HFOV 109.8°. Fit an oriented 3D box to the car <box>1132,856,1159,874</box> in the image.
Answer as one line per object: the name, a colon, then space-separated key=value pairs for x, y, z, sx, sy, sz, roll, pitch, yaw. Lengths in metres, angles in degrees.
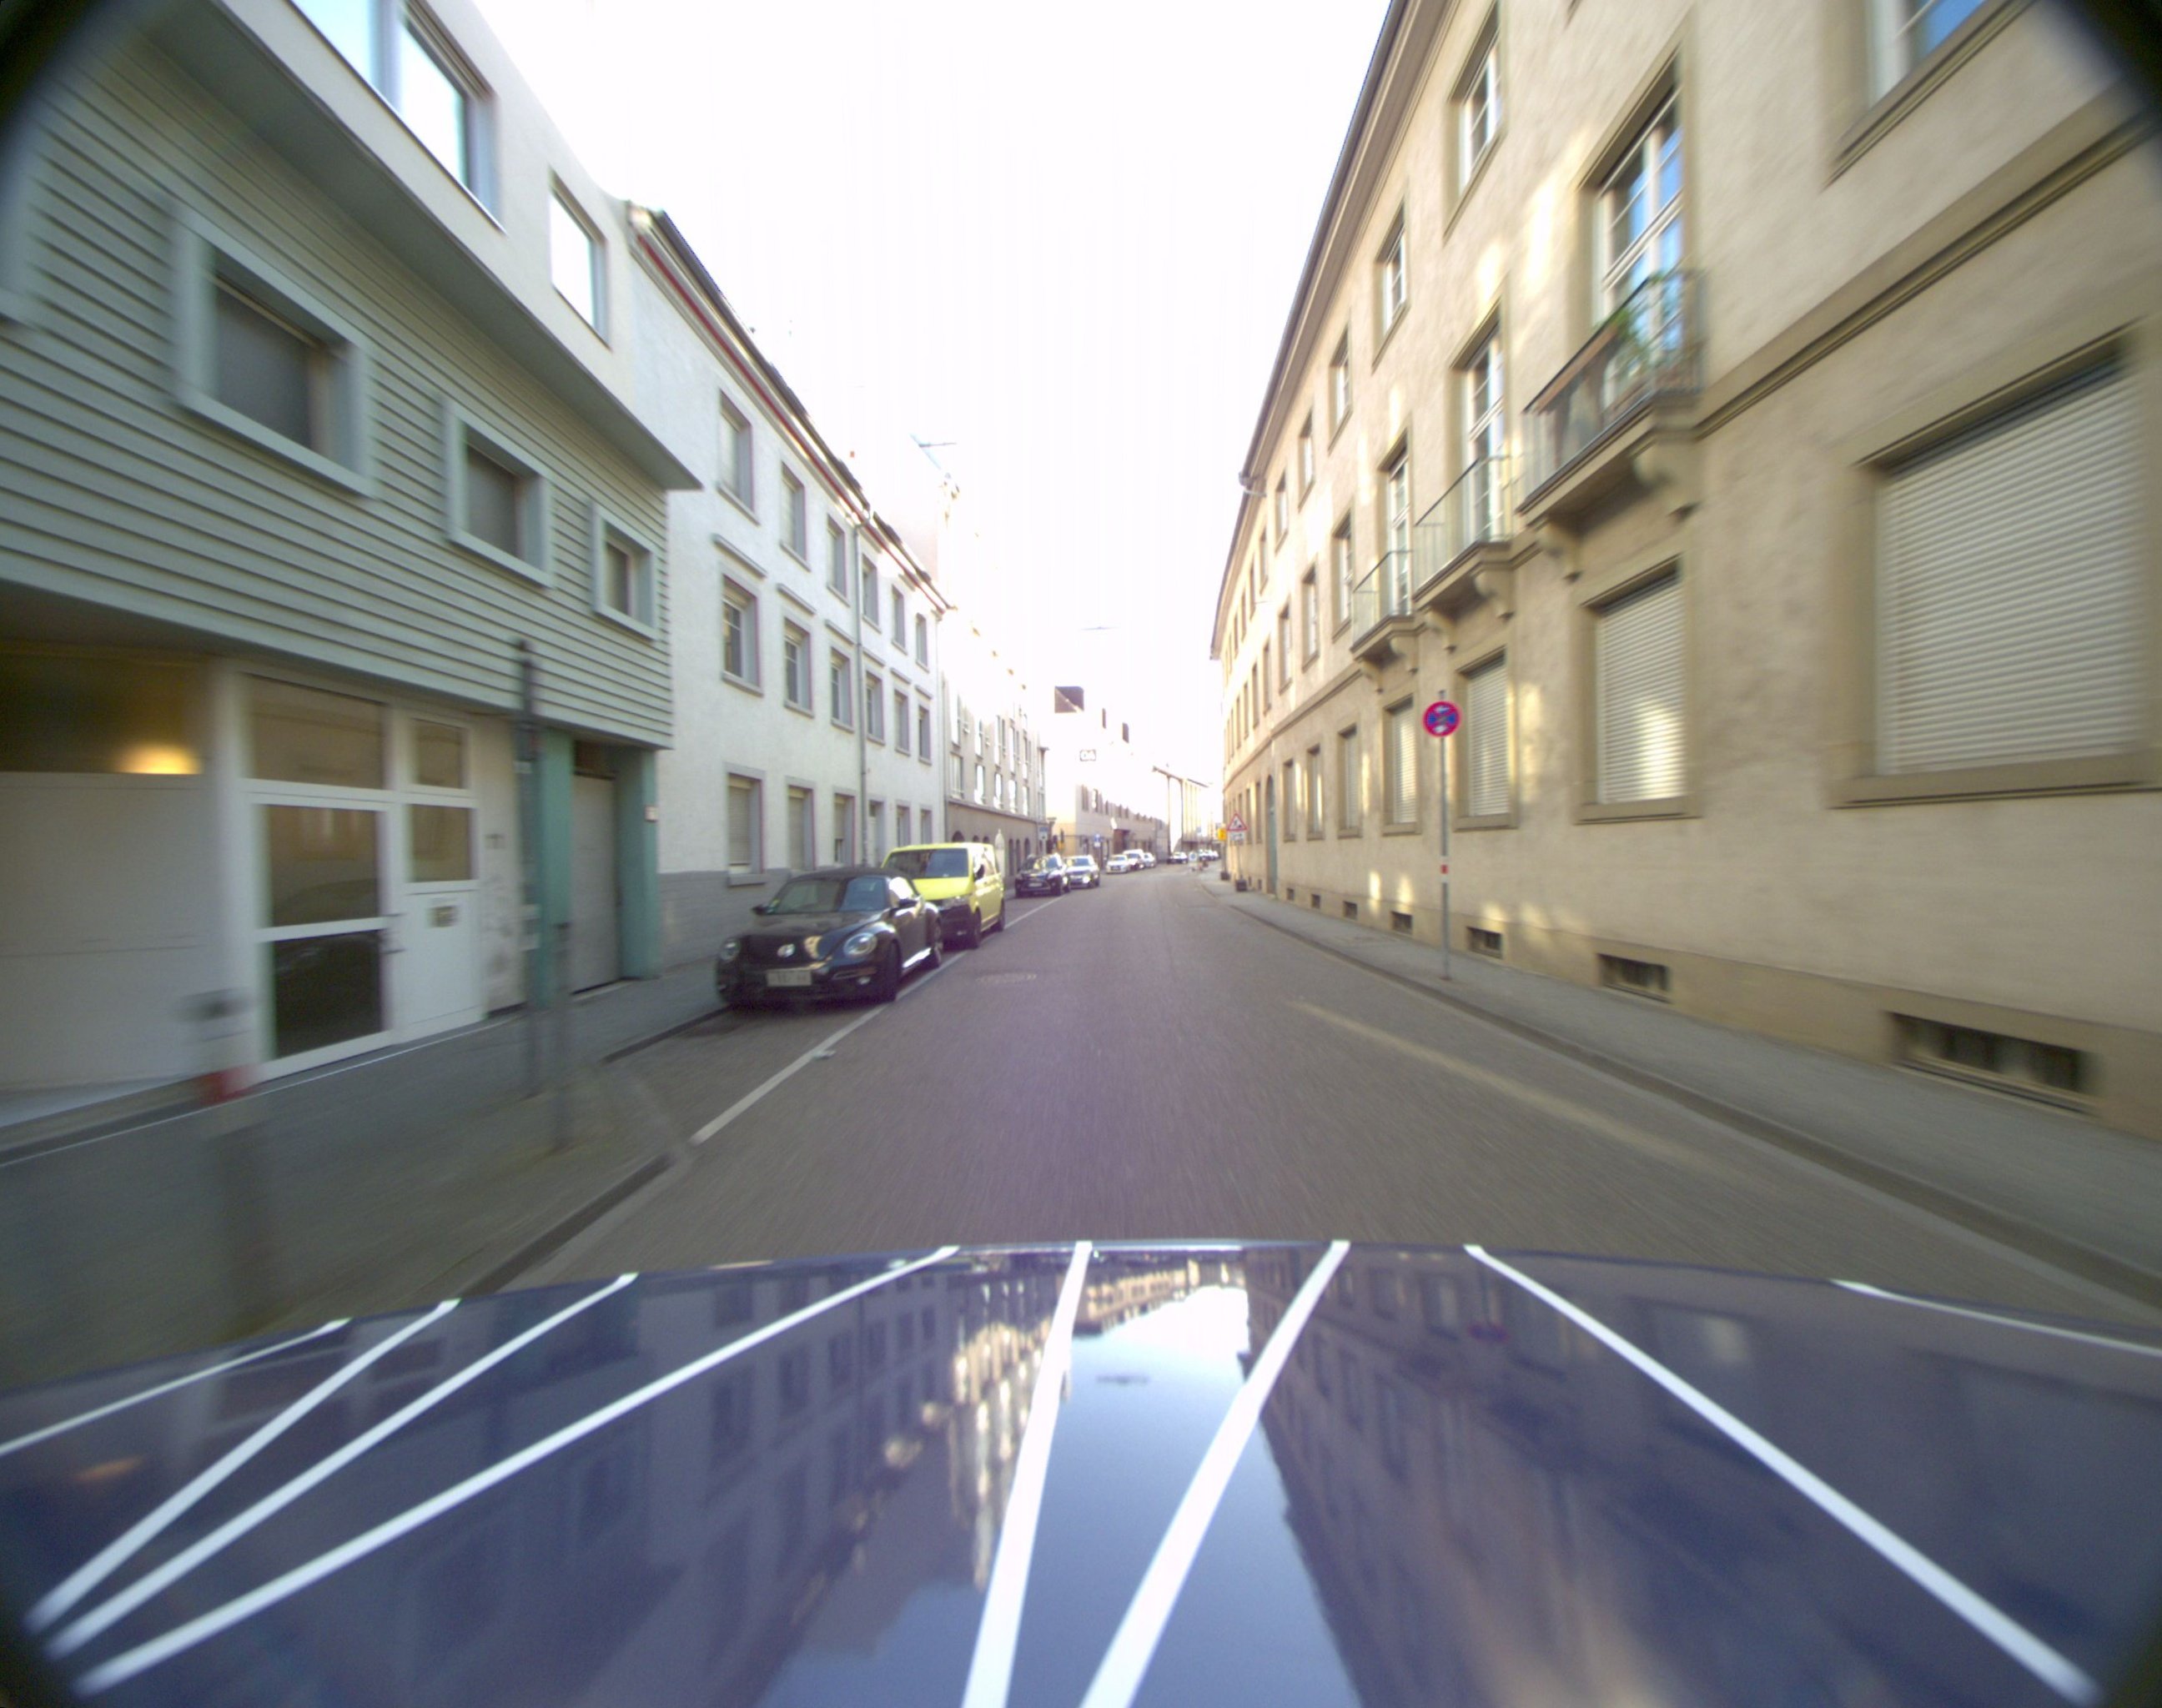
car: x=6.249 y=1.071 z=73.374 sx=1.774 sy=1.574 sz=3.861 roll=-5 pitch=-1 yaw=15

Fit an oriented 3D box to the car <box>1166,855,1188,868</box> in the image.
car: x=11.800 y=0.886 z=93.118 sx=1.963 sy=1.400 sz=4.202 roll=-2 pitch=0 yaw=18

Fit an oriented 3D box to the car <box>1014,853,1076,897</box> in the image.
car: x=-1.393 y=0.822 z=31.280 sx=1.829 sy=1.645 sz=4.496 roll=-1 pitch=0 yaw=7

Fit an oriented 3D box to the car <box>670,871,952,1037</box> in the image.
car: x=-2.944 y=1.000 z=9.422 sx=1.888 sy=1.480 sz=4.368 roll=-1 pitch=0 yaw=0

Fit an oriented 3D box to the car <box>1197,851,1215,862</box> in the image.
car: x=18.404 y=0.343 z=111.944 sx=1.963 sy=1.637 sz=4.202 roll=-2 pitch=0 yaw=18

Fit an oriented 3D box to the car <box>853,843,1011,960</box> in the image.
car: x=-2.639 y=0.782 z=14.724 sx=1.888 sy=1.871 sz=4.846 roll=-1 pitch=0 yaw=2

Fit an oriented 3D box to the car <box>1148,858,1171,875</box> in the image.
car: x=8.584 y=1.354 z=83.085 sx=1.774 sy=1.574 sz=3.861 roll=-5 pitch=-1 yaw=16

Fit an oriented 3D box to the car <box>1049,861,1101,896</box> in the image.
car: x=-0.218 y=1.122 z=36.071 sx=1.828 sy=1.550 sz=3.989 roll=-1 pitch=0 yaw=9

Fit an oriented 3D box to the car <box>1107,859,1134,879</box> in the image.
car: x=3.224 y=1.225 z=61.690 sx=1.734 sy=1.539 sz=4.003 roll=-1 pitch=0 yaw=9

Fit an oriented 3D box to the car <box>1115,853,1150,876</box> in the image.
car: x=4.627 y=0.904 z=67.442 sx=1.946 sy=1.850 sz=5.200 roll=-5 pitch=-1 yaw=15

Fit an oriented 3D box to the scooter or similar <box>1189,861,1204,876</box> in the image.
scooter or similar: x=9.382 y=1.204 z=61.752 sx=1.303 sy=1.217 sz=0.467 roll=1 pitch=0 yaw=-42

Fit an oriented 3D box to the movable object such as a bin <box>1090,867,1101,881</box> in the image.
movable object such as a bin: x=1.195 y=1.658 z=63.093 sx=0.687 sy=1.079 sz=0.930 roll=-1 pitch=0 yaw=11
